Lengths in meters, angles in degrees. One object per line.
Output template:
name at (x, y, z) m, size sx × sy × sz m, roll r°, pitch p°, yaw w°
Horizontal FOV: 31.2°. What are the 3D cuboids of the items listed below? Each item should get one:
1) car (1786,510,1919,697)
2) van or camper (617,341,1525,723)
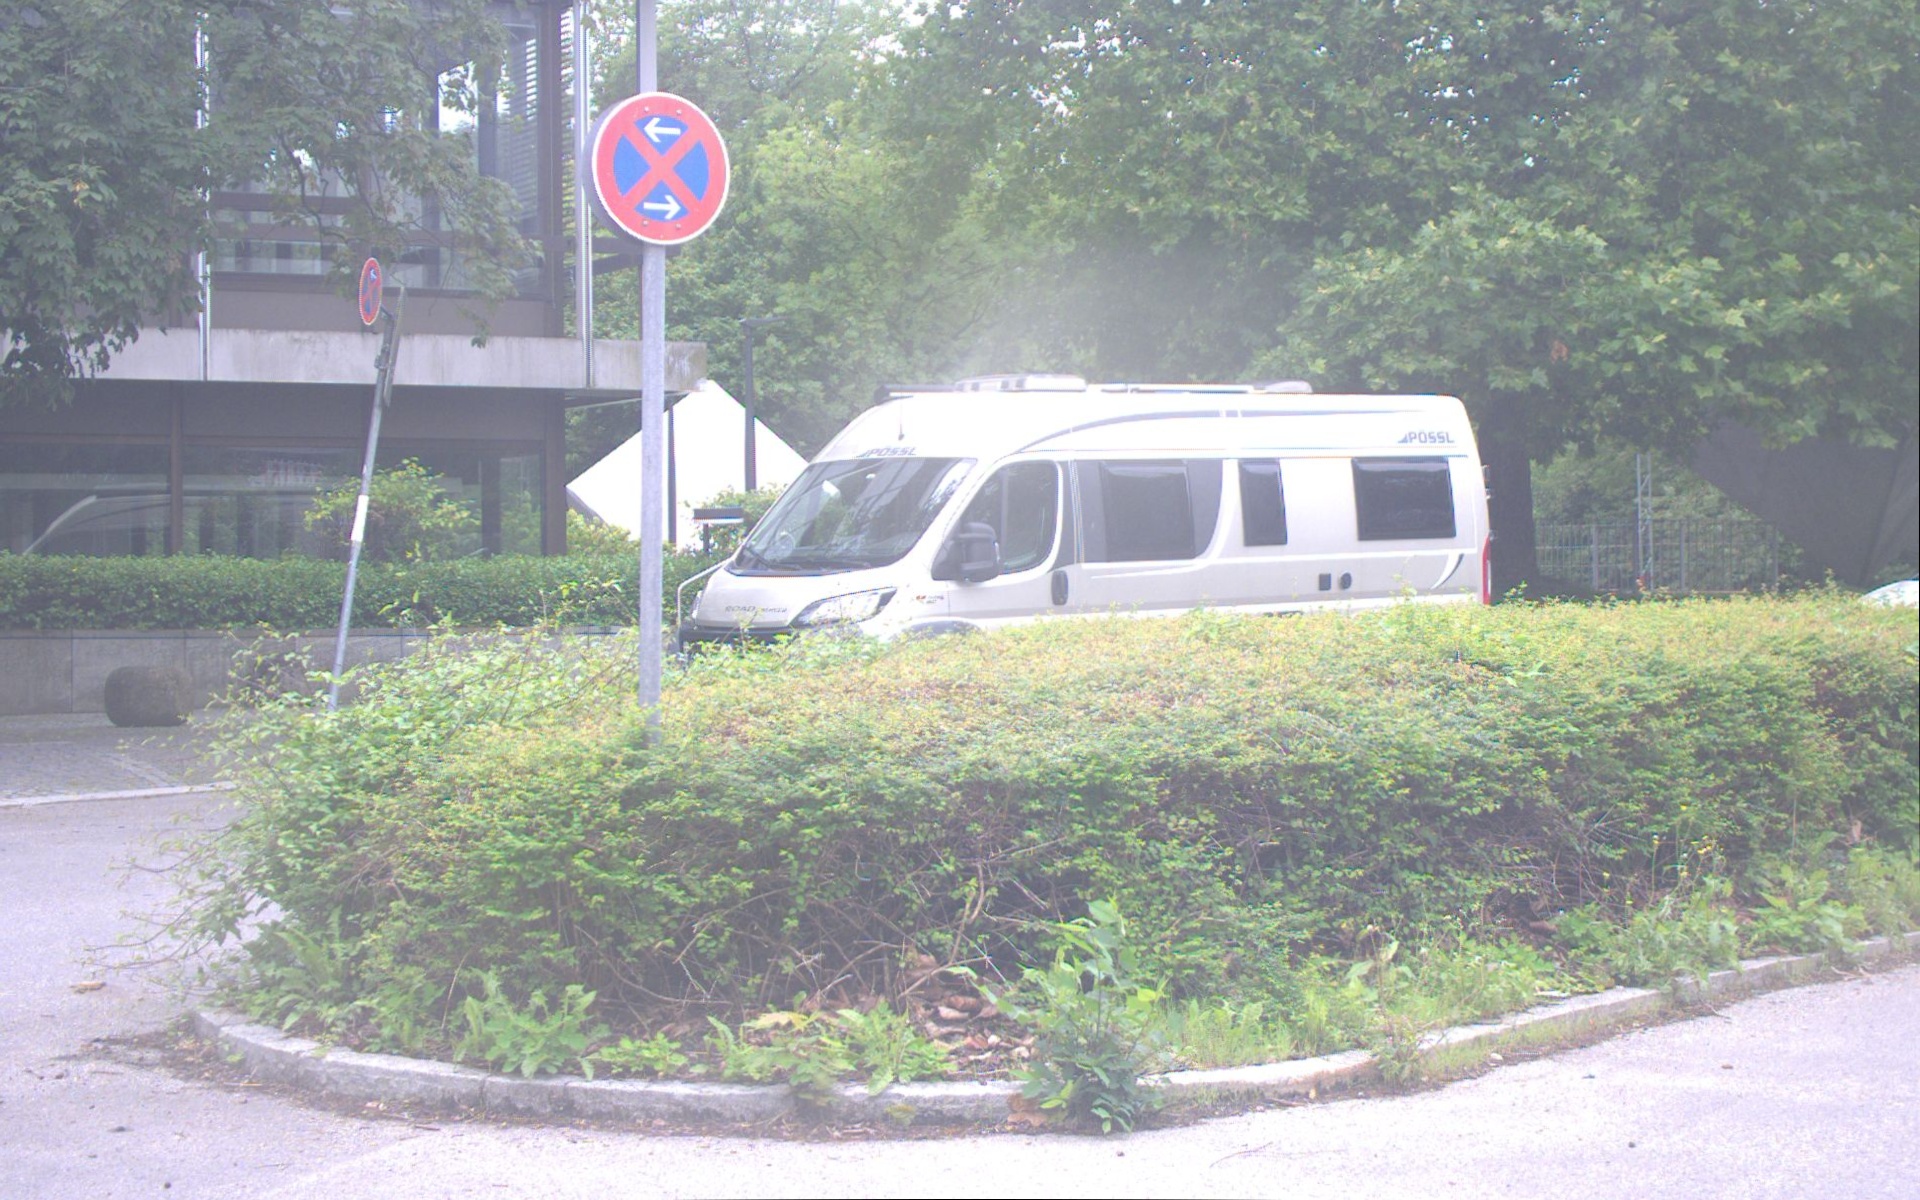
car at (9.194, -0.004, 28.952) m, size 3.986 × 1.503 × 2.000 m, roll -1°, pitch 1°, yaw -26°
van or camper at (0.928, -0.442, 23.459) m, size 6.401 × 2.273 × 2.254 m, roll -1°, pitch 1°, yaw -42°
